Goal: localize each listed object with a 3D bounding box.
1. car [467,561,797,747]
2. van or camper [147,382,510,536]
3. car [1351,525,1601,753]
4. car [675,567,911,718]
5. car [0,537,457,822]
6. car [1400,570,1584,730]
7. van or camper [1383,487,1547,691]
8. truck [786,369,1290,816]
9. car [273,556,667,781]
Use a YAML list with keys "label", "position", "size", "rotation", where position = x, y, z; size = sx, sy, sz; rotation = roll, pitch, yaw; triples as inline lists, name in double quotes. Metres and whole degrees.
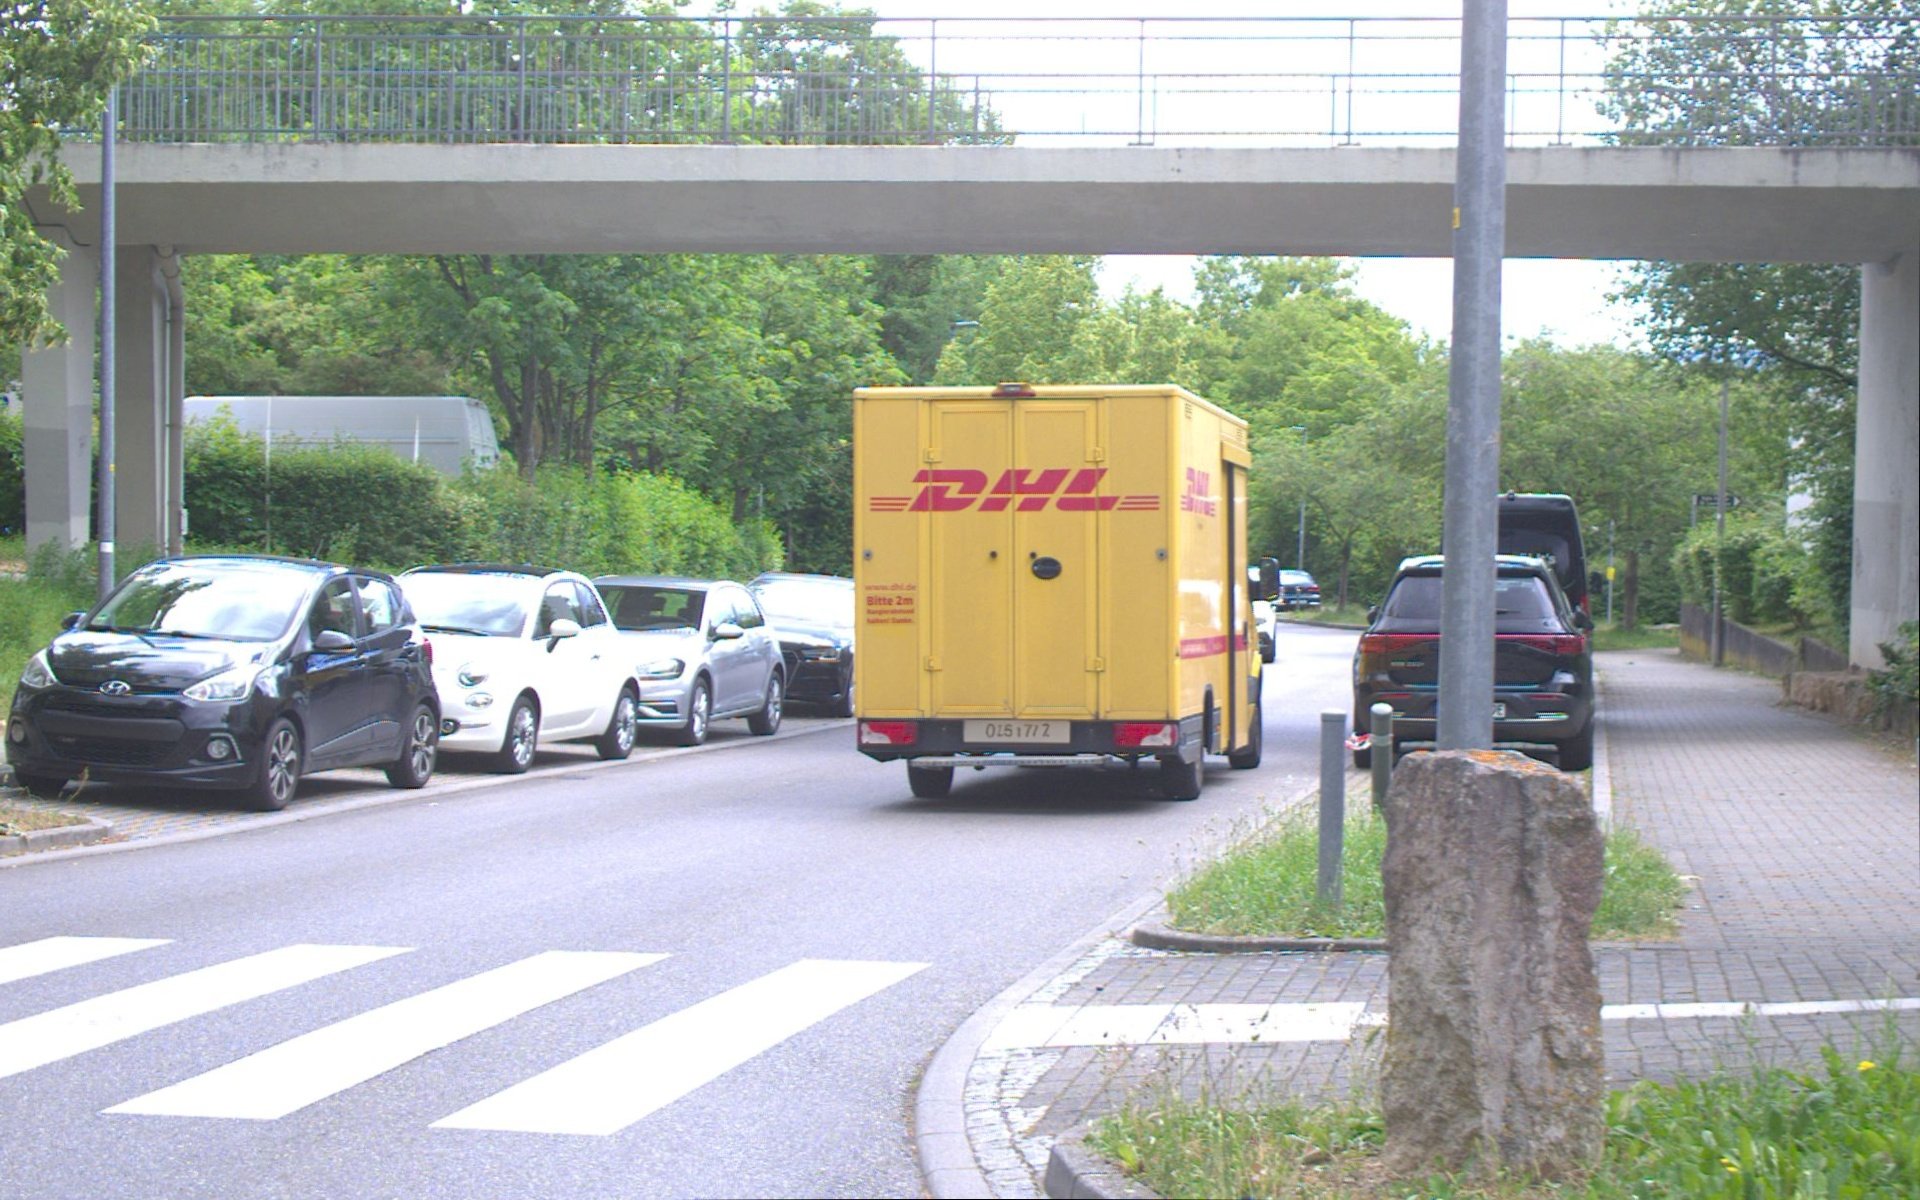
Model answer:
- label: "car"
  position: [-2.874, 0.430, 30.988]
  size: [1.885, 1.422, 3.998]
  rotation: [2, 2, 11]
- label: "van or camper"
  position: [-9.260, -2.077, 50.639]
  size: [4.855, 2.078, 2.000]
  rotation: [2, 2, 5]
- label: "car"
  position: [4.174, 0.381, 27.859]
  size: [1.814, 1.673, 4.368]
  rotation: [1, -2, 9]
- label: "car"
  position: [-1.777, 0.417, 38.114]
  size: [1.885, 1.504, 4.451]
  rotation: [2, 1, 6]
- label: "car"
  position: [-4.651, 0.418, 21.818]
  size: [1.787, 1.463, 3.999]
  rotation: [4, 2, 7]
- label: "car"
  position: [5.367, 0.462, 34.537]
  size: [1.700, 1.491, 4.117]
  rotation: [1, 0, 9]
- label: "van or camper"
  position: [6.737, -0.130, 45.476]
  size: [1.994, 2.514, 5.468]
  rotation: [-1, 0, 10]
- label: "truck"
  position: [0.787, -0.090, 24.665]
  size: [2.467, 2.693, 6.821]
  rotation: [2, 1, 11]
- label: "car"
  position: [-3.638, 0.460, 26.150]
  size: [1.885, 1.455, 3.545]
  rotation: [2, 2, 11]
